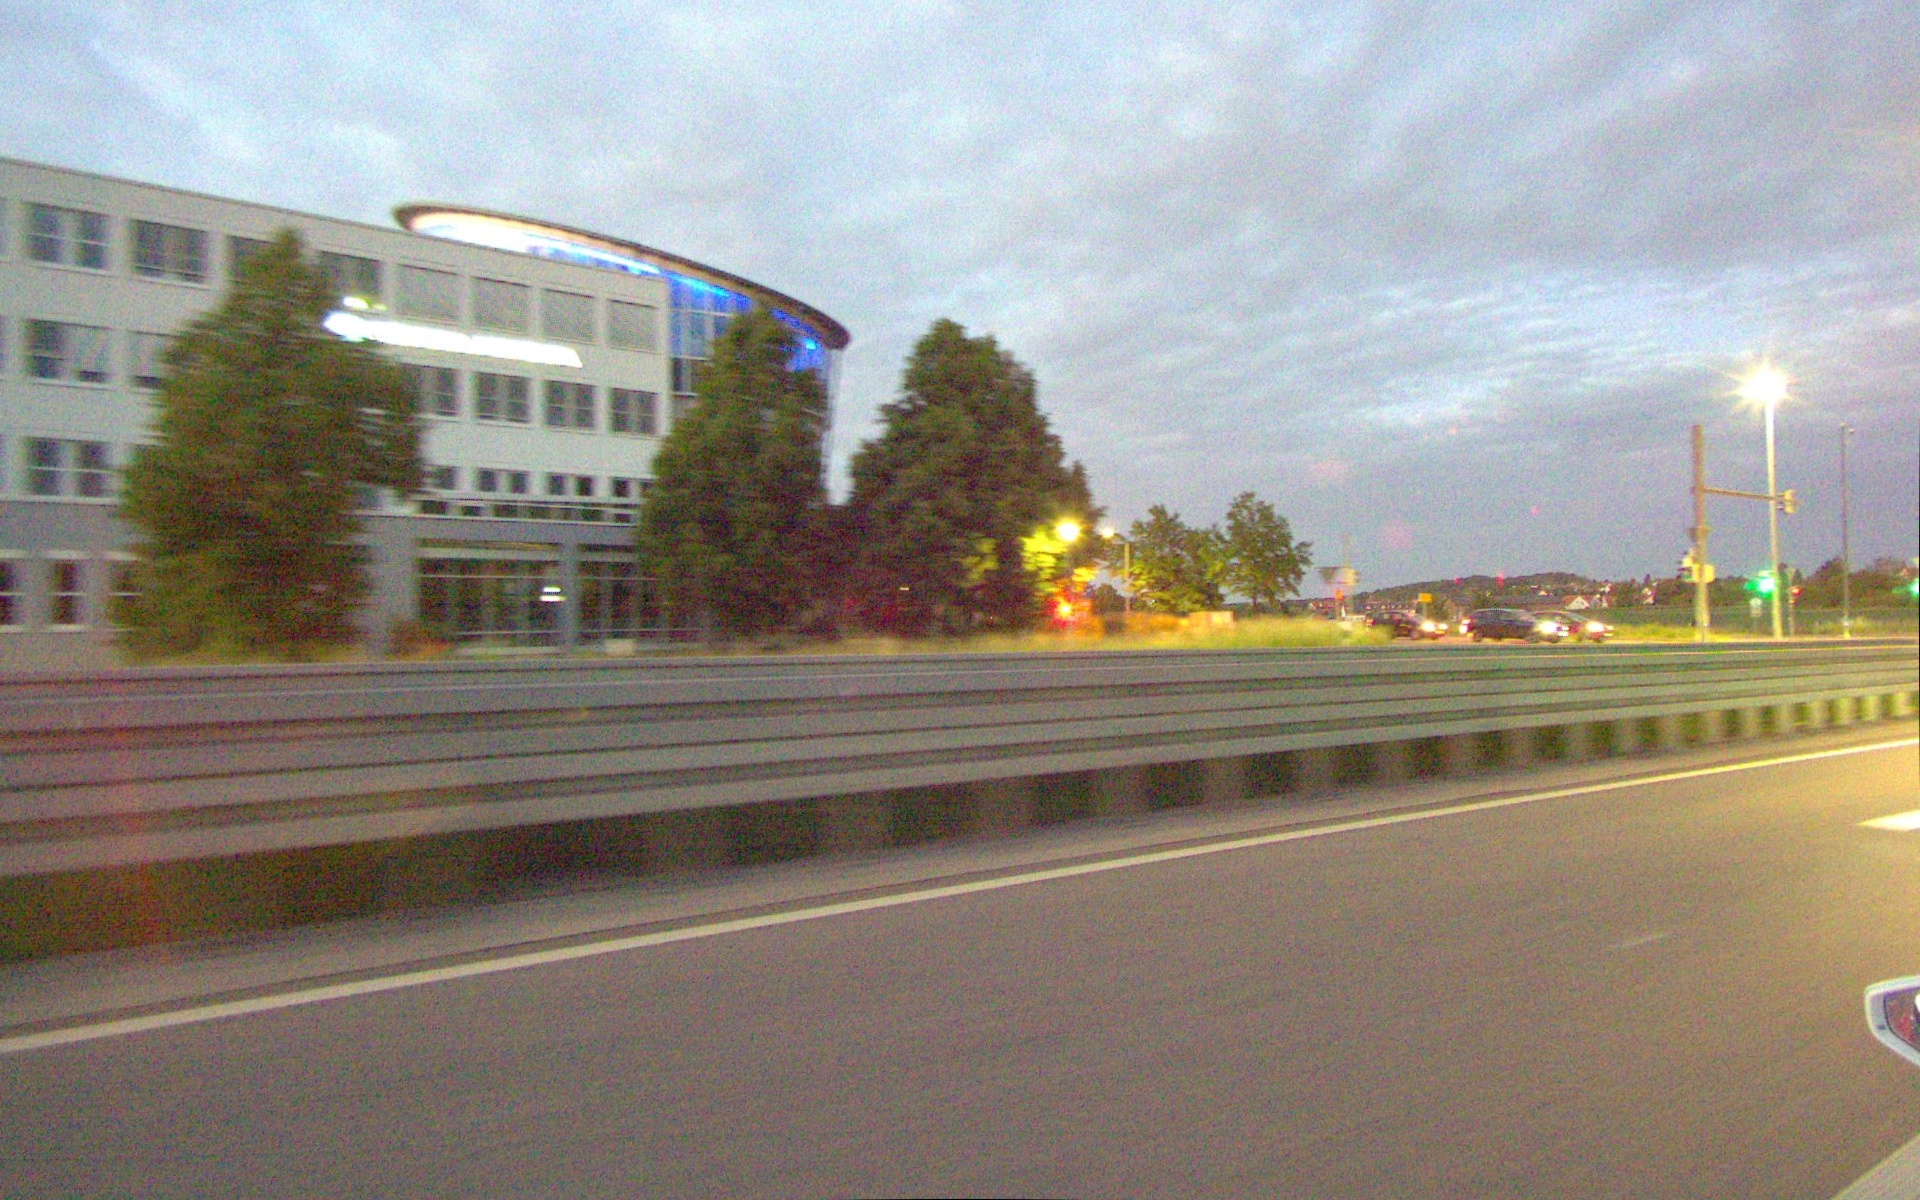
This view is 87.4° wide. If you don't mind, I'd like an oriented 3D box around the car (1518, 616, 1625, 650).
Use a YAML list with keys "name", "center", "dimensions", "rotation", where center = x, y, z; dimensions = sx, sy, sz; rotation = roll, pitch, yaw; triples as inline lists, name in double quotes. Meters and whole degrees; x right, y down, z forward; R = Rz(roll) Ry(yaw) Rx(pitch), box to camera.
- name: "car"
  center: [28.909, 1.558, 47.580]
  dimensions: [1.710, 1.558, 4.021]
  rotation: [1, -2, -31]

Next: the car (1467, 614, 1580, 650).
- name: "car"
  center: [25.808, 1.451, 46.130]
  dimensions: [1.709, 1.558, 4.294]
  rotation: [1, -2, -29]

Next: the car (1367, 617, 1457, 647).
- name: "car"
  center: [23.207, 1.661, 51.701]
  dimensions: [1.711, 1.493, 3.963]
  rotation: [1, -2, -34]
